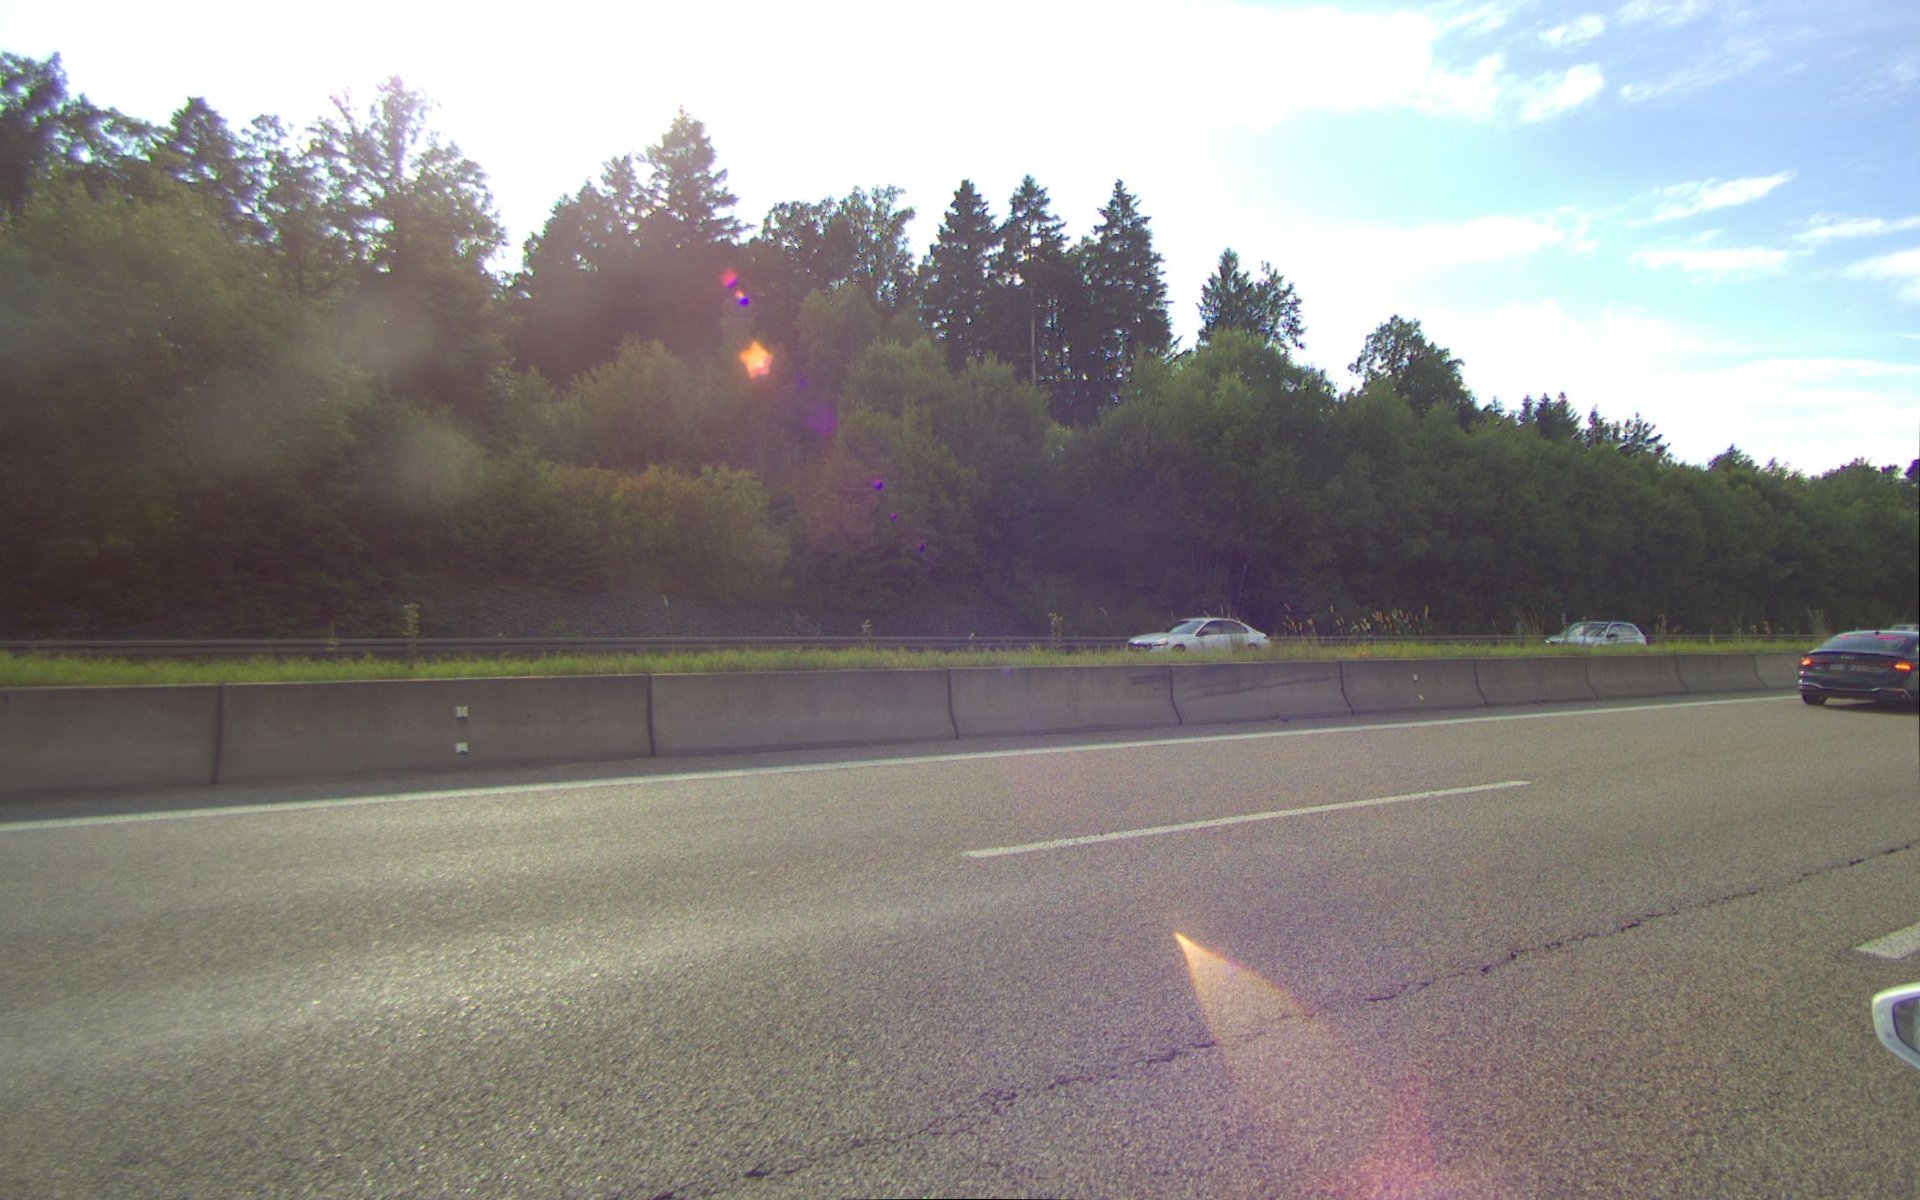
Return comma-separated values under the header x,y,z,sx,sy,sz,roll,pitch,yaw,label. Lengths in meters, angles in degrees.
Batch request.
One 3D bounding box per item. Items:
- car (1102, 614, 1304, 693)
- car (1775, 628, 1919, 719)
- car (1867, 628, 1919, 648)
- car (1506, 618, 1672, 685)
x,y,z,sx,sy,sz,roll,pitch,yaw,label
7.457,1.558,30.654,5.896,2.167,2.567,1,-1,-30,car
17.084,1.260,18.356,4.784,1.450,1.847,1,-1,-30,car
53.972,2.188,57.929,3.136,1.108,1.584,1,-1,-30,car
22.265,1.759,35.506,5.896,2.167,2.567,1,-1,-30,car
